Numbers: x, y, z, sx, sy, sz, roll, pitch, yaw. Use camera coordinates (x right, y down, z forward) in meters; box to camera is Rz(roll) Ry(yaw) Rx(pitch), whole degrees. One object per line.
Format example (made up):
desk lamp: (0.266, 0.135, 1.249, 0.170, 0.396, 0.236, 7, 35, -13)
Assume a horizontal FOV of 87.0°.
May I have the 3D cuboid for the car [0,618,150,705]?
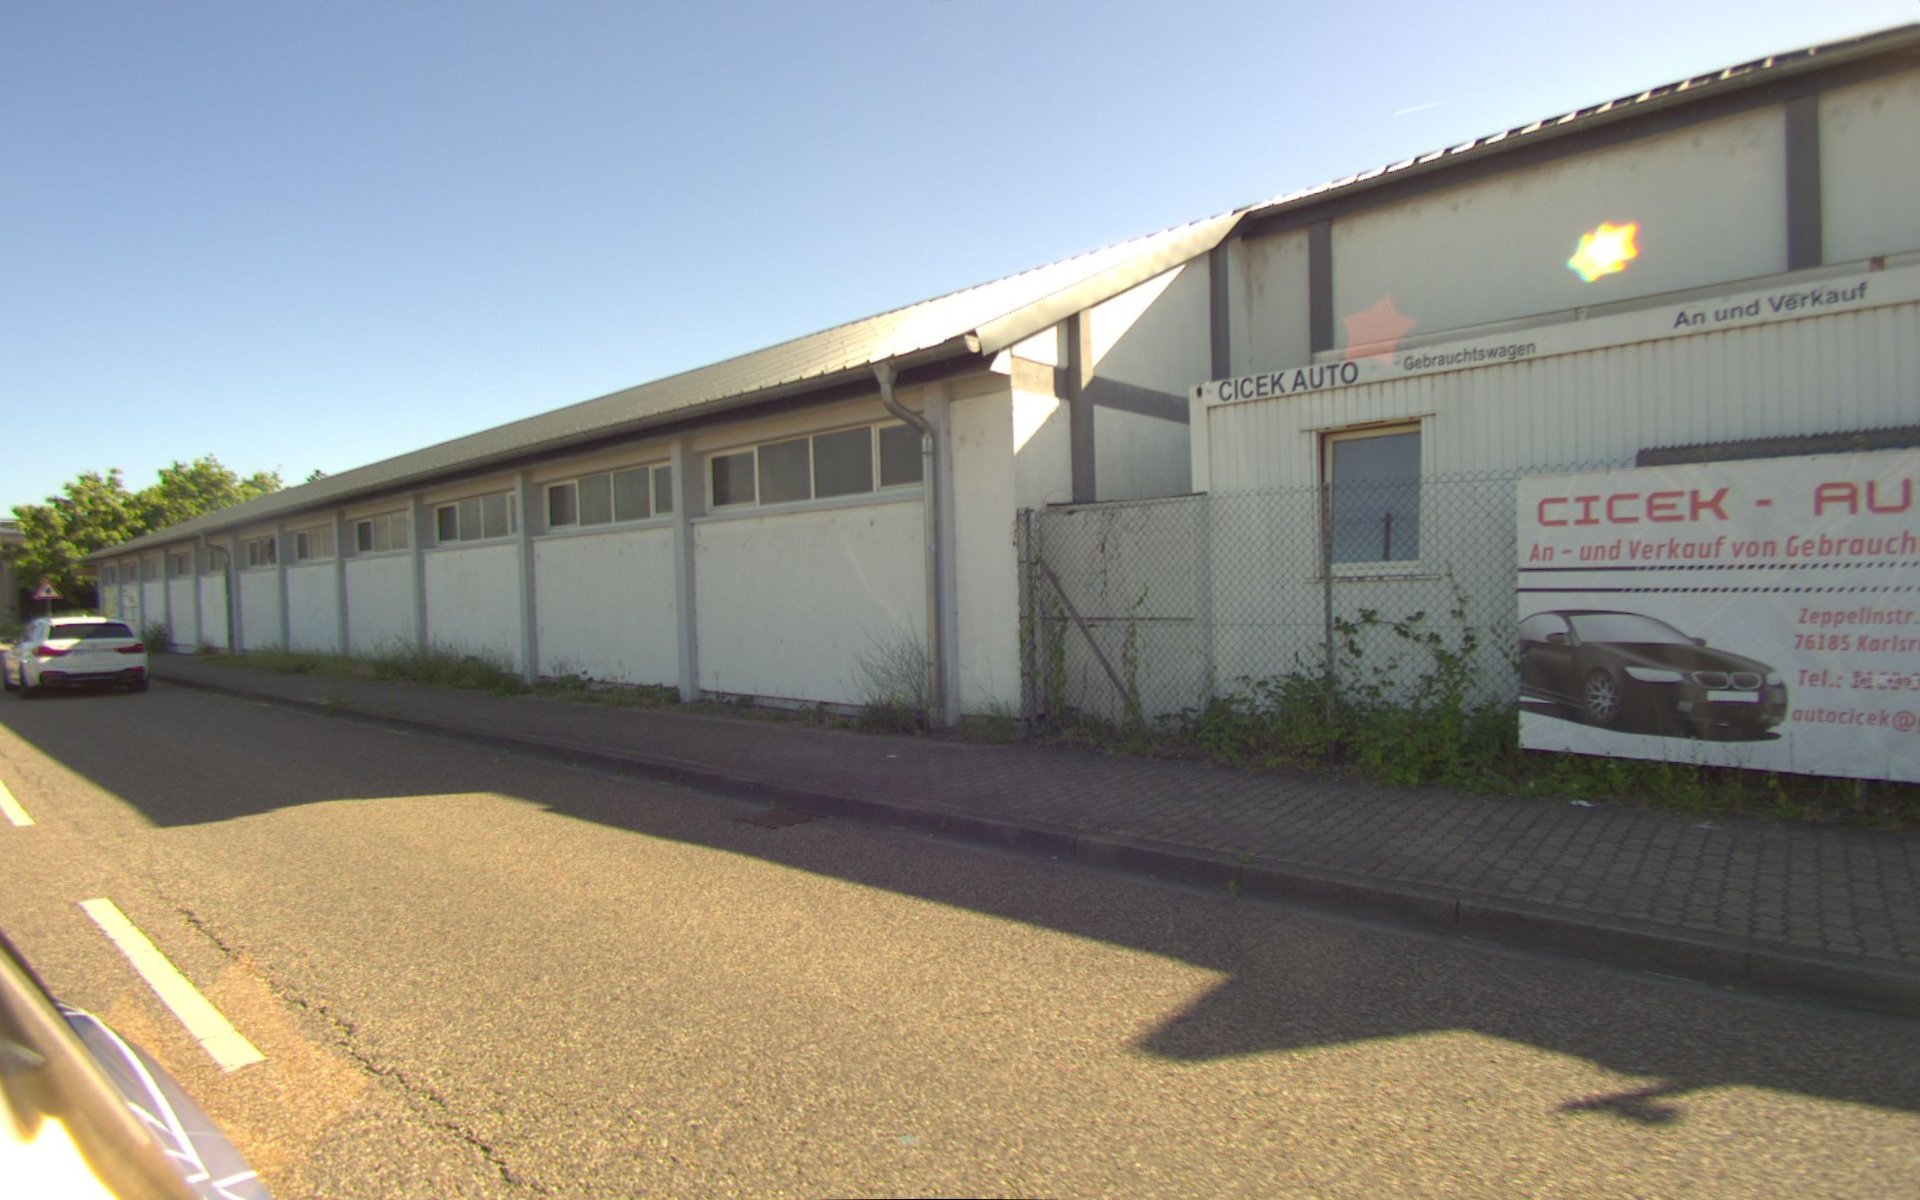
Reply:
car: (-17.630, 1.133, 19.995, 4.686, 1.489, 1.789, -1, -1, 42)
